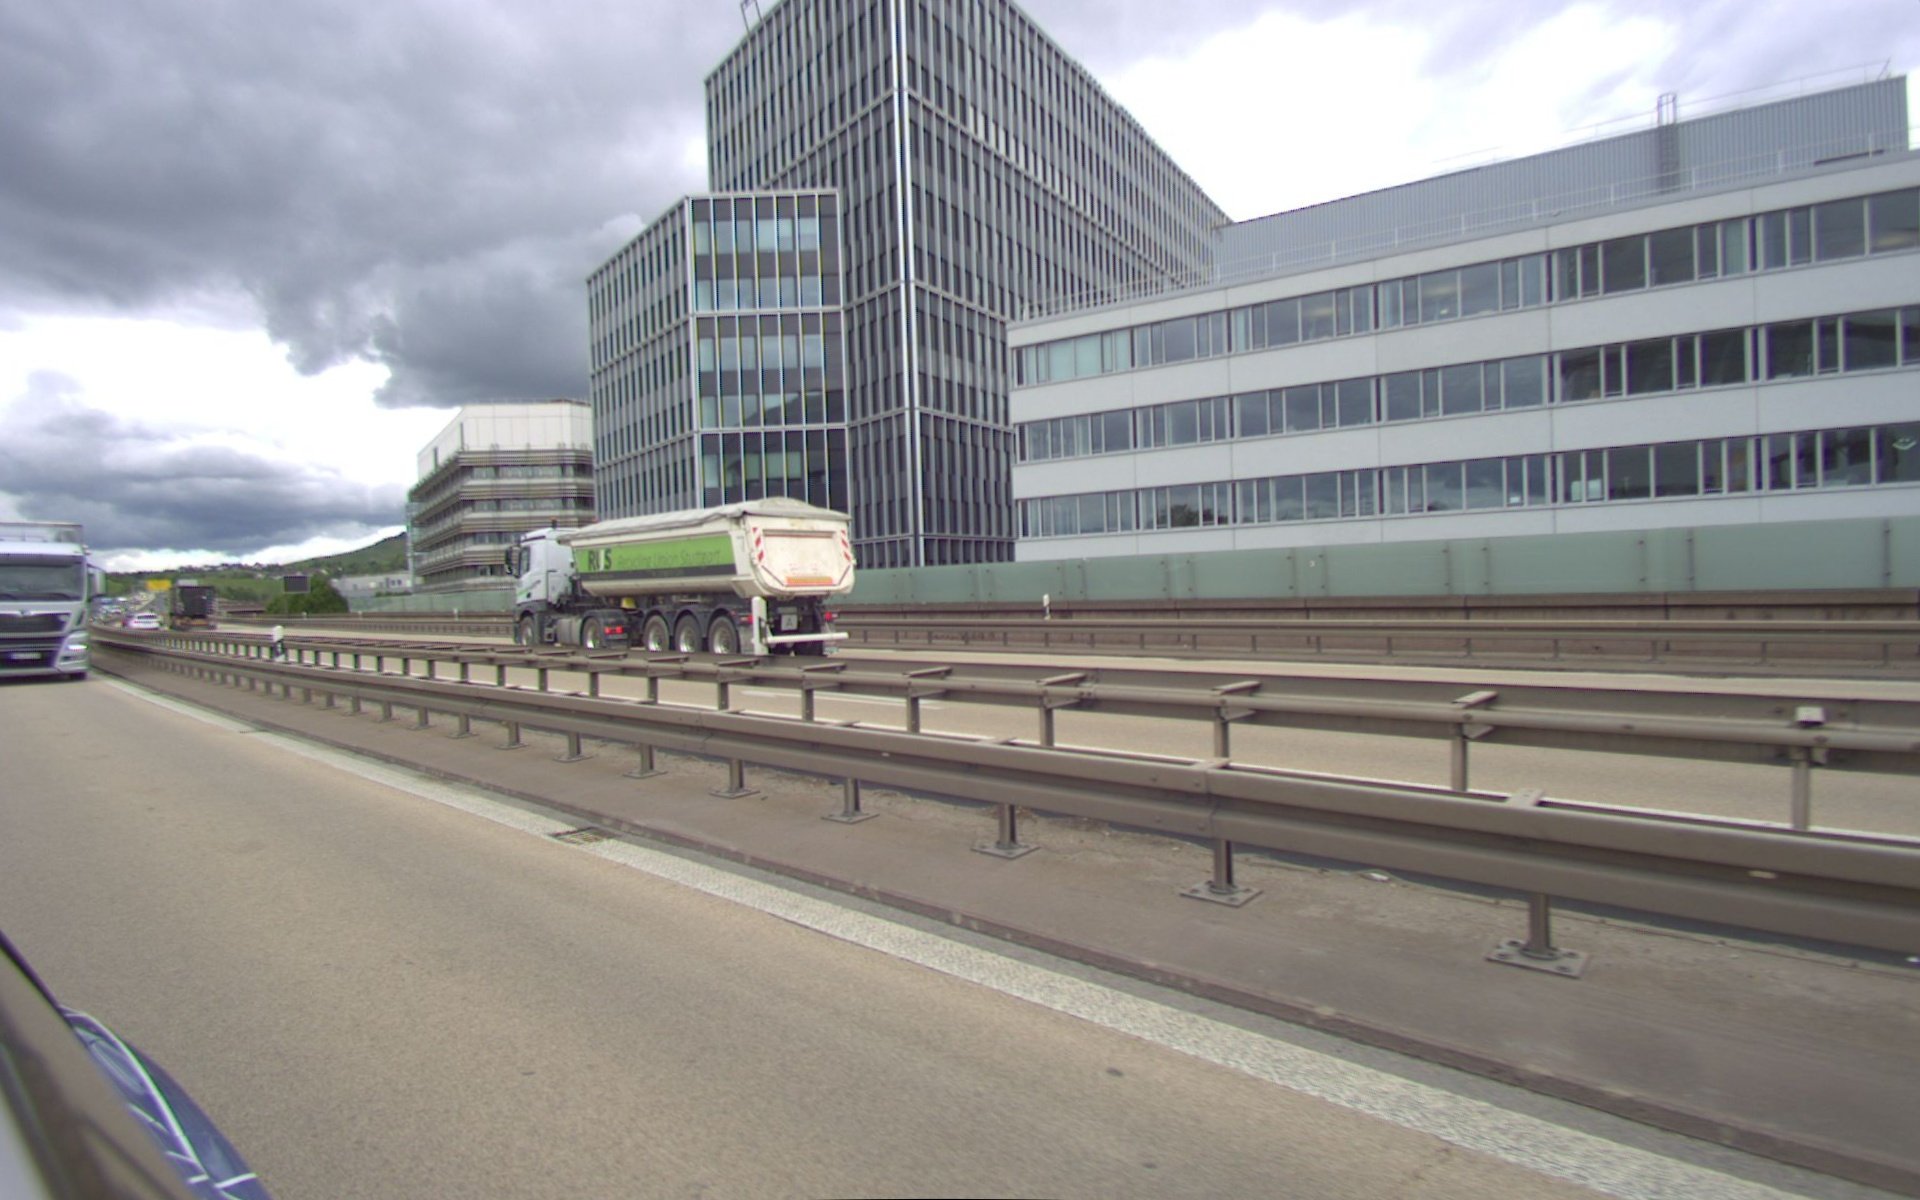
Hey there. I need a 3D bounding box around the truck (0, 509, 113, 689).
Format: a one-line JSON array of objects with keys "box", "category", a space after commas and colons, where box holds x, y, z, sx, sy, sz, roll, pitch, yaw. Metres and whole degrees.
[{"box": [-23.464, -0.018, 25.180, 3.099, 4.067, 5.692, -3, 1, -45], "category": "truck"}]

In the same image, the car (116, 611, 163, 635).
[{"box": [-58.992, 1.647, 72.737, 4.808, 1.618, 1.972, -1, 0, 44], "category": "car"}]

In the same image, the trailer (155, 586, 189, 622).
[{"box": [-94.641, 0.396, 121.475, 2.809, 4.017, 11.907, -1, 1, -39], "category": "trailer"}]

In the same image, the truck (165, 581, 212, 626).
[{"box": [-73.589, 0.353, 96.405, 3.019, 4.096, 11.876, -1, 0, -40], "category": "truck"}]

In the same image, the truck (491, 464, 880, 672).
[{"box": [-7.146, -0.539, 23.985, 12.524, 3.805, 3.022, -1, 0, 45], "category": "truck"}]

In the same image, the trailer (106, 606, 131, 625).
[{"box": [-93.830, 1.734, 112.840, 1.970, 2.029, 4.005, -1, 0, -42], "category": "trailer"}]

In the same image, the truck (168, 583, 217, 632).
[{"box": [-67.047, 0.656, 88.361, 3.019, 4.096, 8.678, -1, 0, -40], "category": "truck"}]

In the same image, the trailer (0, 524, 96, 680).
[{"box": [-29.001, 0.120, 30.794, 3.145, 4.056, 11.772, -3, 1, -45], "category": "trailer"}]
